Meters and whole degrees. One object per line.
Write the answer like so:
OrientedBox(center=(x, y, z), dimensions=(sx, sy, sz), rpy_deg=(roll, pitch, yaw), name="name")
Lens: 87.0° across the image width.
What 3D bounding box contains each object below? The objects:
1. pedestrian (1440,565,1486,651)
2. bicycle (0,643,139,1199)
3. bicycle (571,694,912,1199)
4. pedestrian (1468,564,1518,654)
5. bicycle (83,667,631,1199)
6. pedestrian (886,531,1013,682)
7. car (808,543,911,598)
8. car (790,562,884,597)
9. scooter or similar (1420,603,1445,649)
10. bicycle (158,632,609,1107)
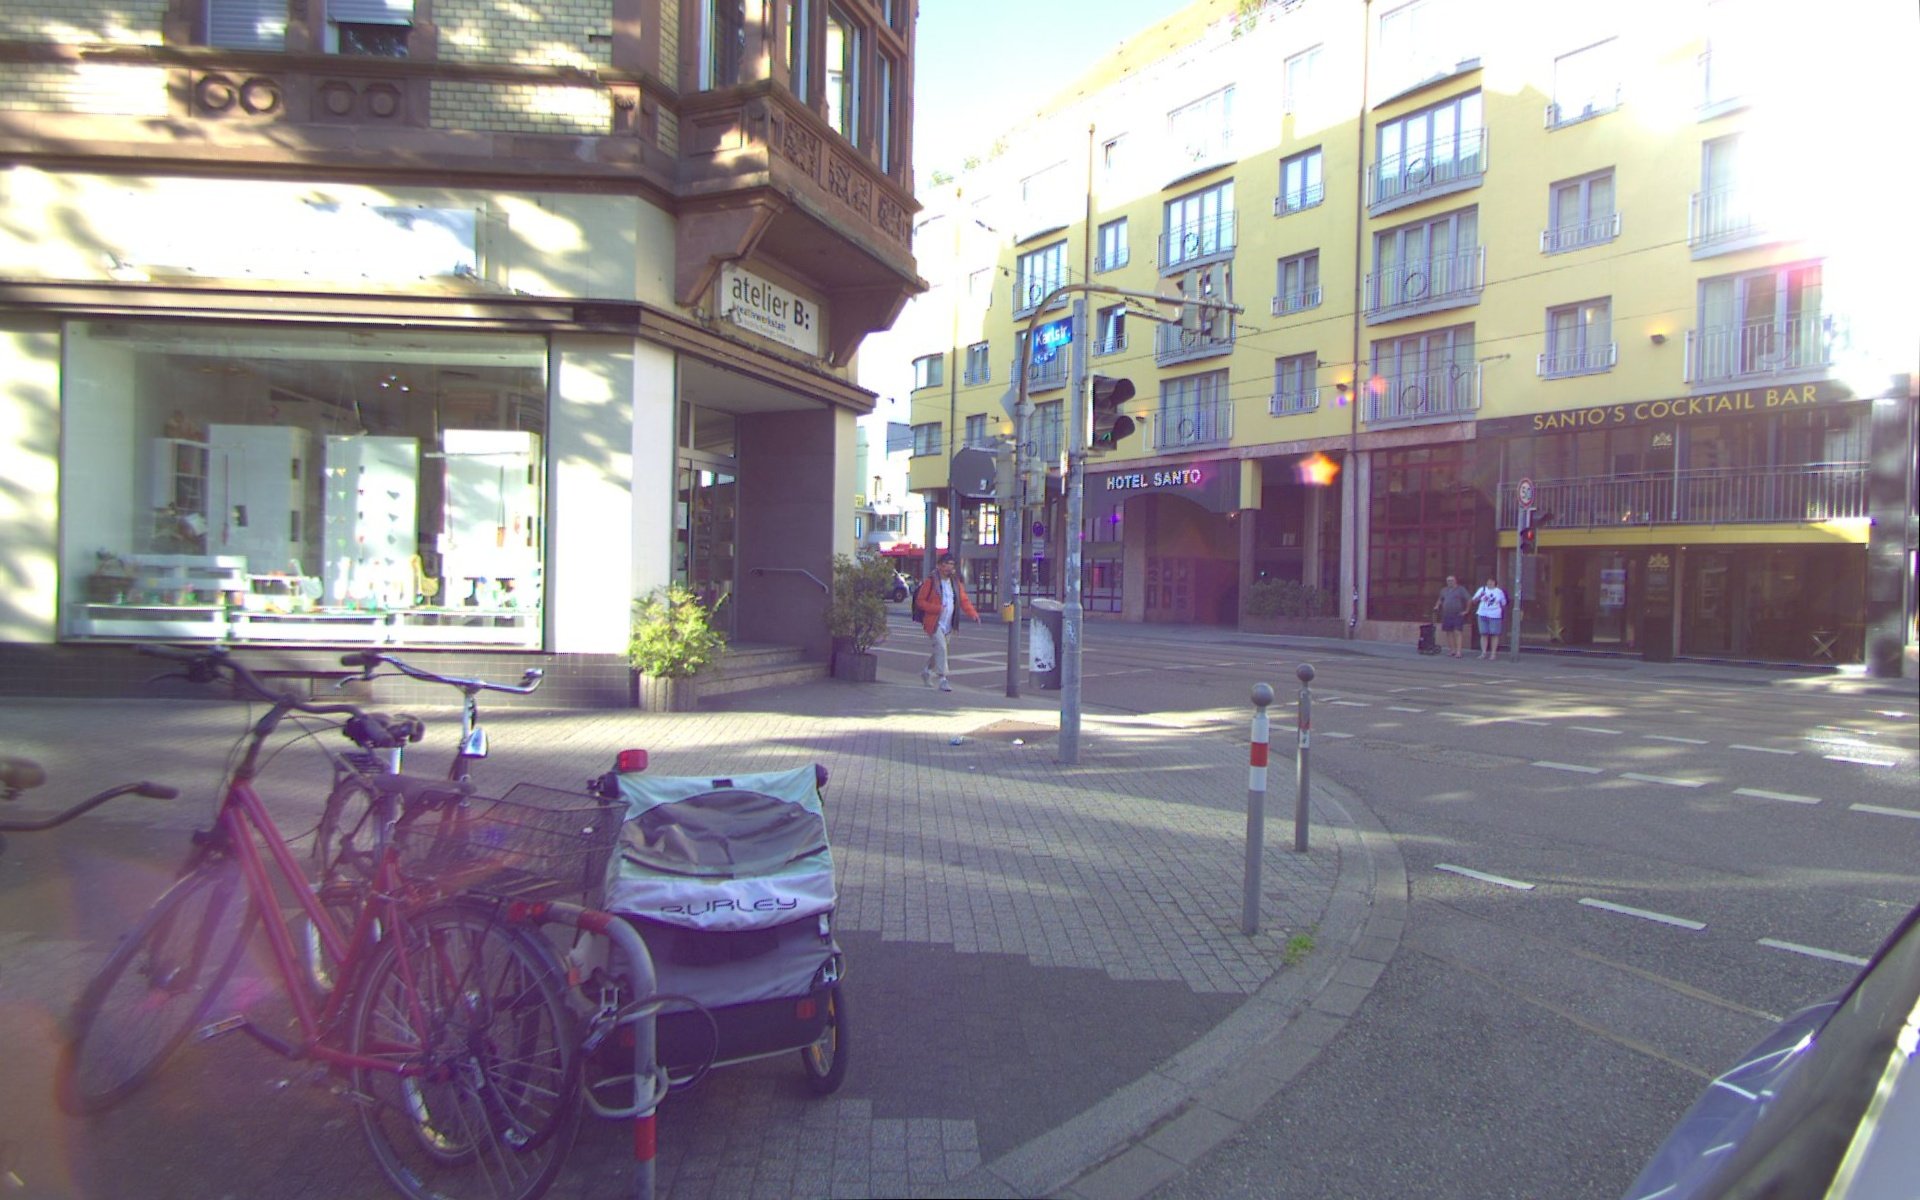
OrientedBox(center=(11.224, 0.157, 22.575), dimensions=(0.714, 1.862, 0.679), rpy_deg=(-4, 4, -38), name="pedestrian")
OrientedBox(center=(-2.212, 0.756, 2.326), dimensions=(0.418, 1.106, 1.934), rpy_deg=(-2, 5, -41), name="bicycle")
OrientedBox(center=(-0.666, 0.851, 2.845), dimensions=(0.723, 1.039, 1.001), rpy_deg=(1, 1, -24), name="bicycle")
OrientedBox(center=(11.504, 0.176, 21.828), dimensions=(0.714, 1.862, 0.735), rpy_deg=(-4, 4, -38), name="pedestrian")
OrientedBox(center=(-1.483, 0.792, 2.434), dimensions=(1.464, 1.106, 0.421), rpy_deg=(3, 4, 28), name="bicycle")
OrientedBox(center=(-0.114, 0.055, 12.123), dimensions=(1.163, 1.701, 0.998), rpy_deg=(2, 1, 28), name="pedestrian")
OrientedBox(center=(-5.286, -1.522, 53.669), dimensions=(5.052, 2.792, 2.059), rpy_deg=(0, 1, -36), name="car")
OrientedBox(center=(-6.722, -1.123, 55.741), dimensions=(4.729, 1.860, 2.059), rpy_deg=(0, 1, -36), name="car")
OrientedBox(center=(10.668, 0.587, 22.840), dimensions=(0.416, 0.989, 0.357), rpy_deg=(-4, 4, -40), name="scooter or similar")
OrientedBox(center=(-1.853, 0.723, 3.225), dimensions=(1.465, 1.106, 0.568), rpy_deg=(3, 4, 29), name="bicycle")
